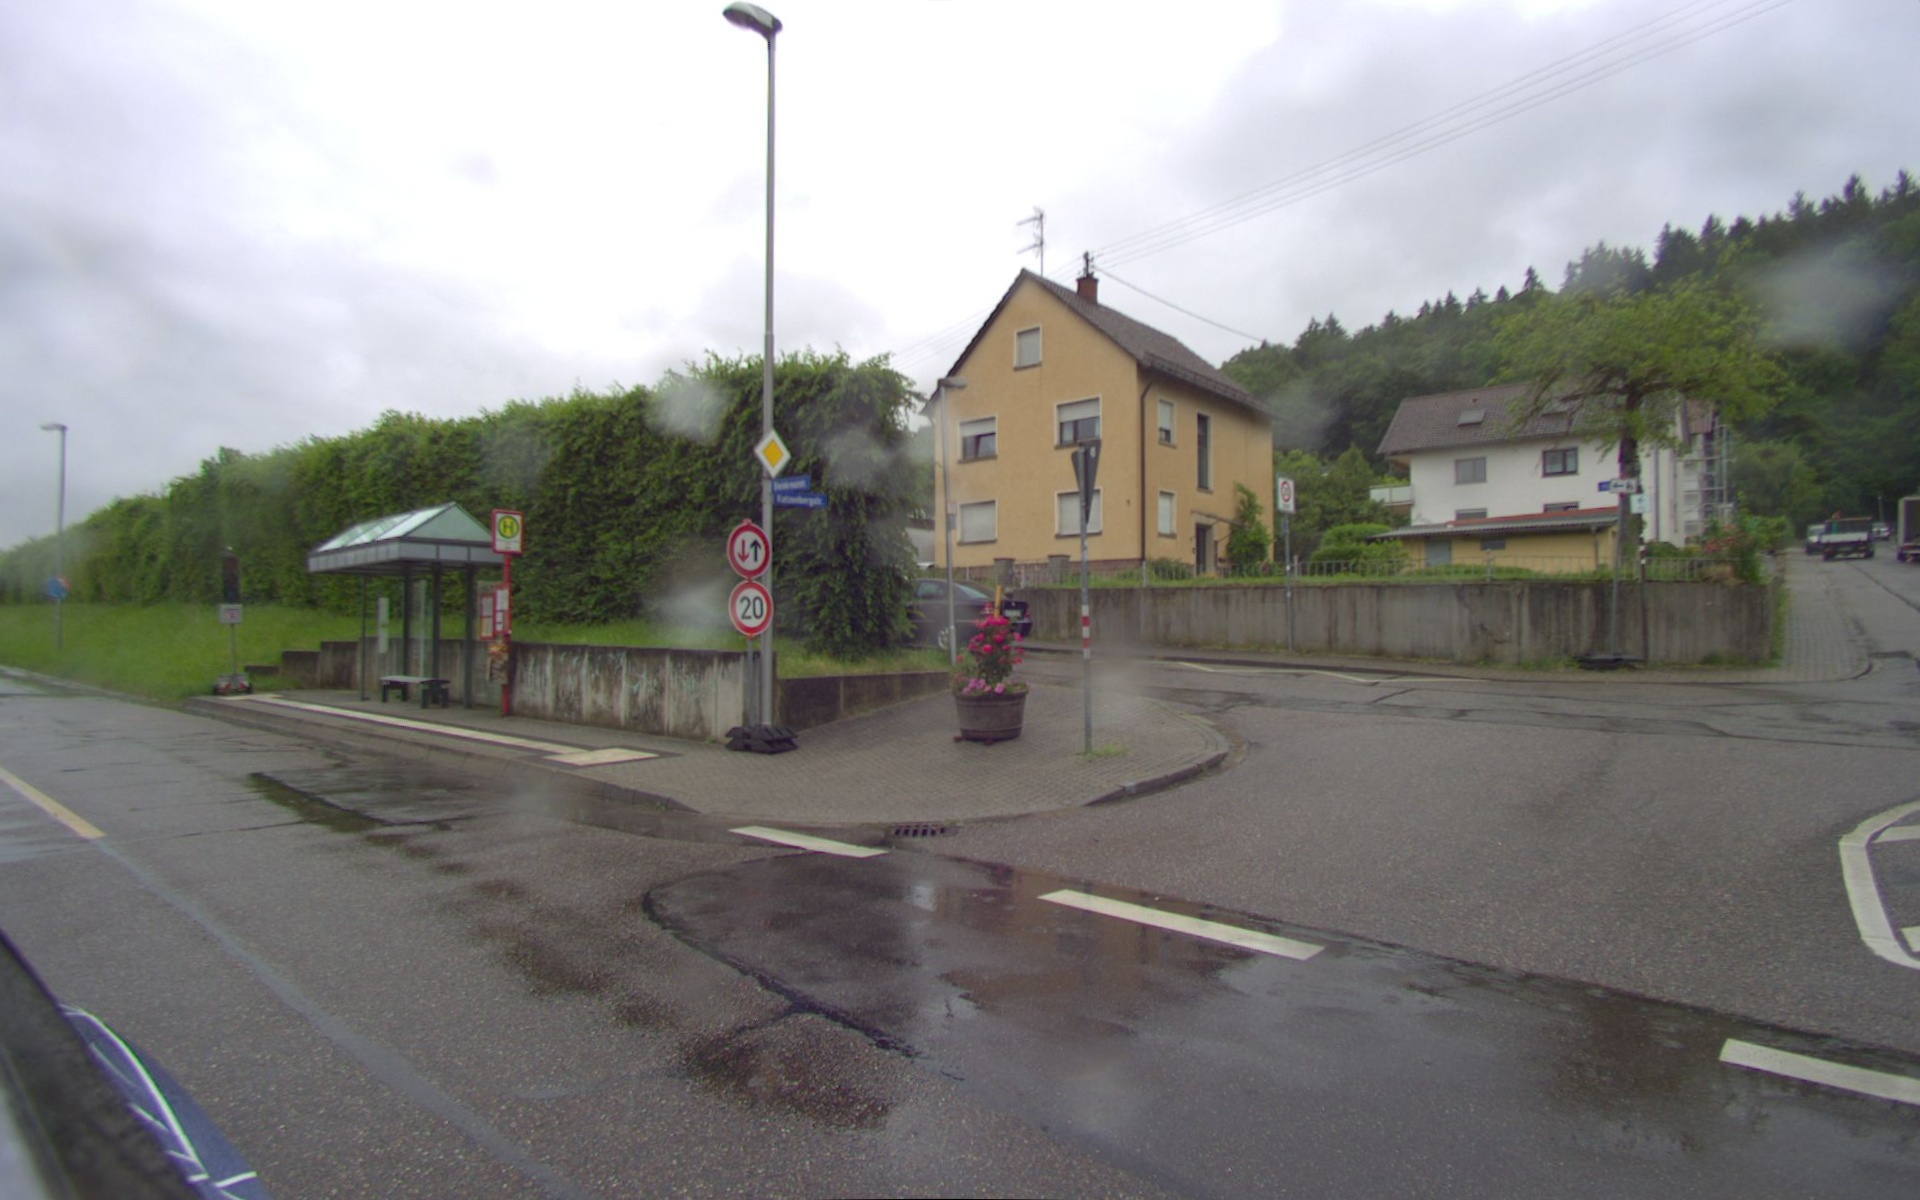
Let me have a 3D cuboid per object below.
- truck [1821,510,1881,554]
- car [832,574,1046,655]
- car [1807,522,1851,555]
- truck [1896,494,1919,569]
[{"bbox_3d":[49.273,-3.691,55.921,2.300,2.142,5.994,-1,1,43],"label":"truck"},{"bbox_3d":[-0.498,0.230,20.384,4.220,1.399,1.726,2,1,41],"label":"car"},{"bbox_3d":[56.752,-3.959,66.133,1.913,2.028,3.950,0,2,37],"label":"car"},{"bbox_3d":[46.256,-3.238,48.010,2.452,3.377,6.568,-1,1,41],"label":"truck"}]
